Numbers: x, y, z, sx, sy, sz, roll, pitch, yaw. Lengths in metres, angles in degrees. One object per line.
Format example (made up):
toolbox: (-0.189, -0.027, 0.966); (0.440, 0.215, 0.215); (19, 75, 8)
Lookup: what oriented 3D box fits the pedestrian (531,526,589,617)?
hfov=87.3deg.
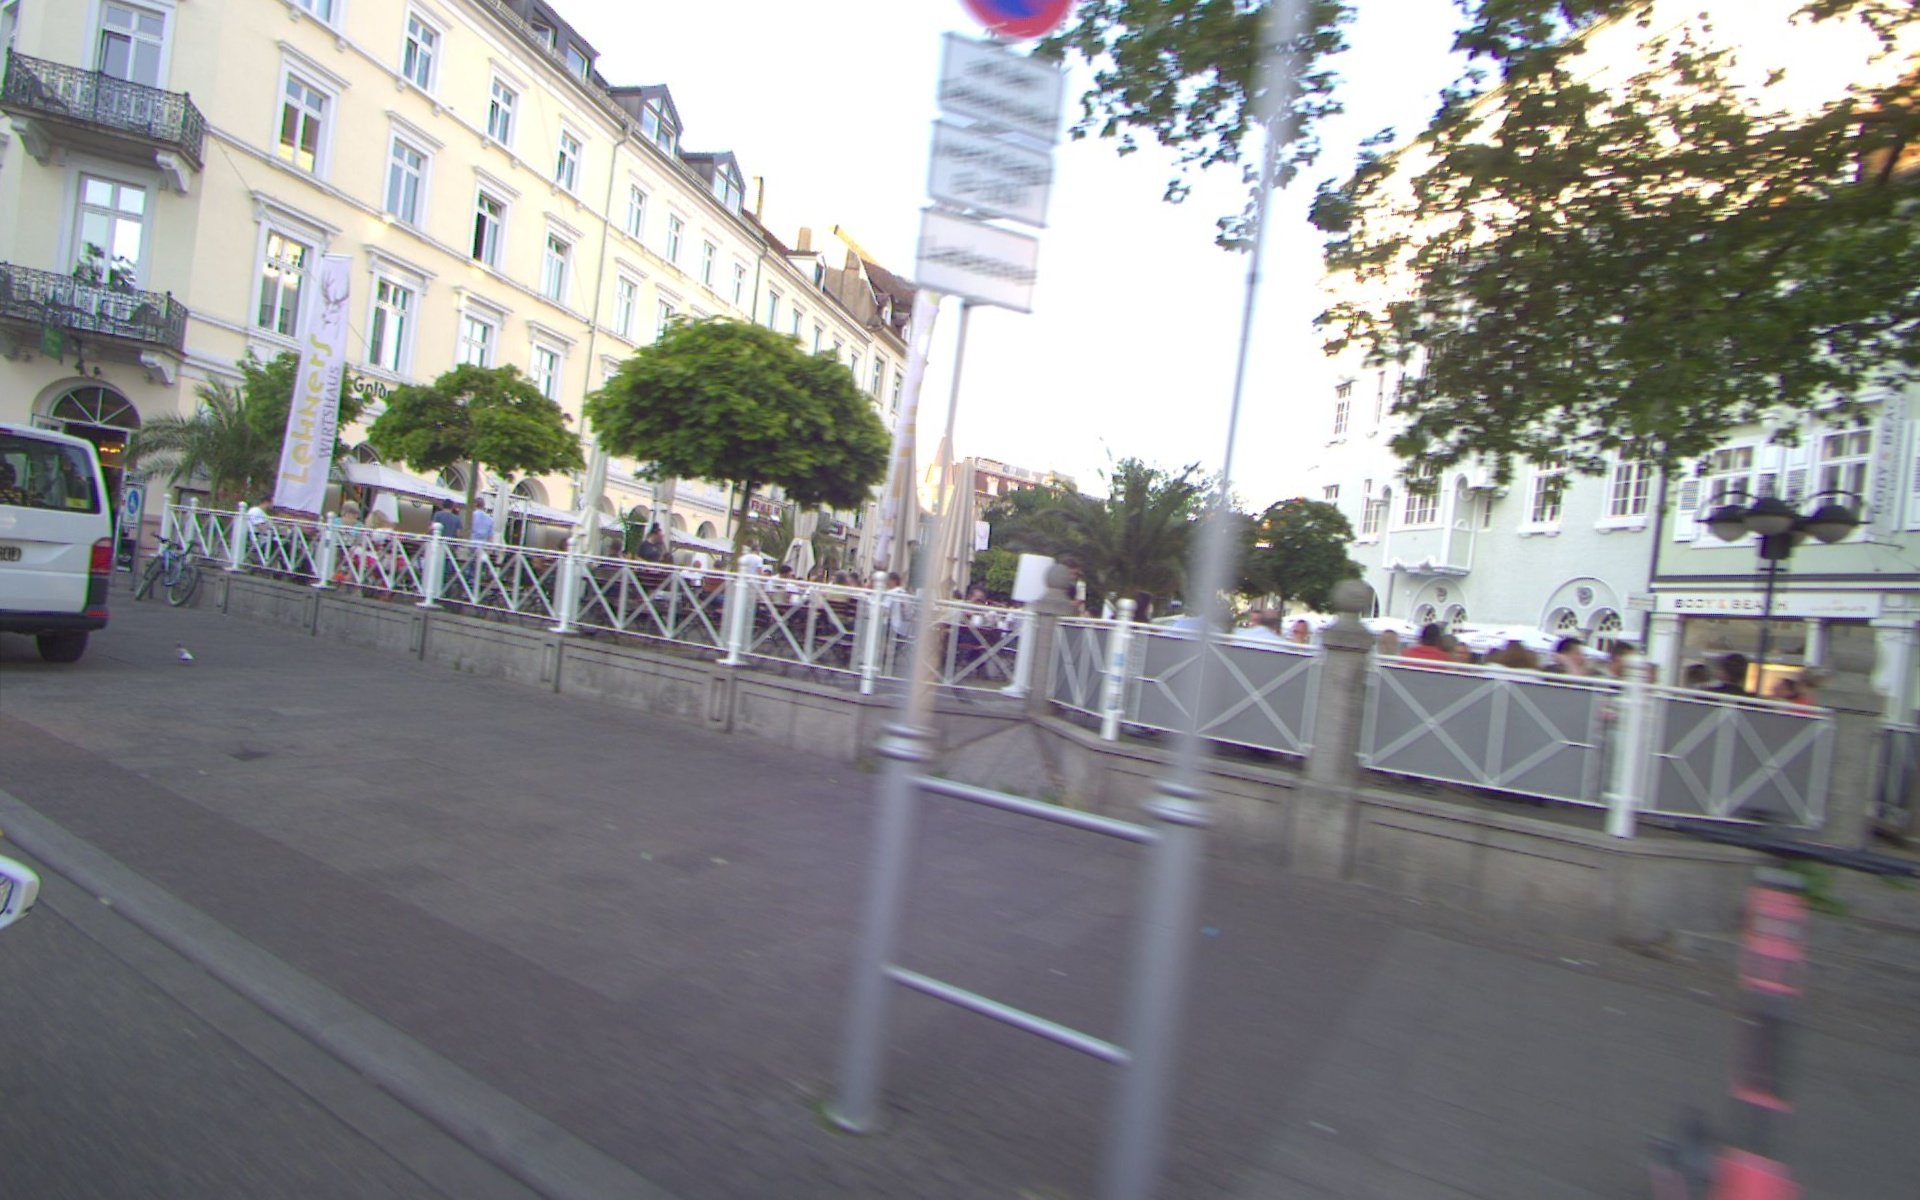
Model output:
pedestrian: (-6.361, -0.448, 15.995); (0.482, 1.349, 0.531); (7, 0, 31)

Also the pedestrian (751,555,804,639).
pedestrian: (-3.243, -0.046, 17.894); (0.522, 1.394, 0.590); (7, 0, 24)

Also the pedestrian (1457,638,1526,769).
pedestrian: (5.709, 1.105, 10.805); (0.482, 1.313, 0.531); (7, 0, 31)

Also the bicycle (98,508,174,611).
bicycle: (-12.289, -0.615, 14.998); (1.269, 1.408, 0.344); (7, 0, 31)

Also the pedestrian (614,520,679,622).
pedestrian: (-5.599, -0.514, 17.961); (0.719, 1.713, 0.590); (7, 0, 24)

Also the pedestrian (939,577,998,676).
pedestrian: (0.129, 0.388, 14.572); (0.523, 1.349, 0.490); (7, 0, 31)

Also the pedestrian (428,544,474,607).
pedestrian: (-11.623, -0.555, 22.980); (0.625, 1.344, 0.491); (7, 0, 18)

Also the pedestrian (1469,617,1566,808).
pedestrian: (4.255, 0.842, 7.677); (0.482, 1.349, 0.531); (7, 0, 31)

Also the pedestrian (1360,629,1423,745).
pedestrian: (5.224, 1.049, 12.172); (0.482, 1.313, 0.531); (7, 0, 31)

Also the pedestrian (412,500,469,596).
pedestrian: (-9.345, -0.934, 18.100); (0.522, 1.628, 0.553); (7, 0, 24)

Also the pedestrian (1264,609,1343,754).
pedestrian: (3.351, 0.789, 9.796); (0.482, 1.313, 0.531); (7, 0, 31)

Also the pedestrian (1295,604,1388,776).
pedestrian: (3.154, 0.732, 8.295); (0.482, 1.313, 0.531); (7, 0, 31)

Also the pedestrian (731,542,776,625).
pedestrian: (-4.493, -0.350, 21.911); (0.580, 1.717, 0.532); (7, 0, 24)

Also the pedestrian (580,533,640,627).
pedestrian: (-5.336, -0.301, 15.345); (0.482, 1.349, 0.531); (7, 0, 31)

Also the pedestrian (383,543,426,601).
pedestrian: (-13.275, -0.662, 24.038); (0.481, 1.296, 0.596); (7, 0, 18)

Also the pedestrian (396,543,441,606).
pedestrian: (-12.197, -0.567, 22.654); (0.481, 1.344, 0.596); (7, 0, 18)

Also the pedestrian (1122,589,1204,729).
pedestrian: (2.046, 0.592, 10.124); (0.523, 1.313, 0.490); (7, 0, 31)

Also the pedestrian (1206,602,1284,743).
pedestrian: (2.848, 0.719, 10.046); (0.482, 1.313, 0.531); (7, 0, 31)

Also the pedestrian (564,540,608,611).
pedestrian: (-7.569, -0.503, 20.360); (0.523, 1.349, 0.490); (7, 0, 31)

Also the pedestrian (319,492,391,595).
pedestrian: (-8.282, -0.763, 13.786); (0.481, 1.312, 0.532); (7, 0, 16)

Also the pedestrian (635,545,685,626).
pedestrian: (-5.088, -0.238, 17.065); (0.522, 1.282, 0.491); (7, 0, 8)

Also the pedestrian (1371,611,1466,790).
pedestrian: (3.634, 0.782, 7.959); (0.482, 1.313, 0.531); (7, 0, 31)

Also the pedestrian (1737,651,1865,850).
pedestrian: (6.205, 1.088, 7.452); (0.523, 1.349, 0.490); (7, 0, 31)

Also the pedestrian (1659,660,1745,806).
pedestrian: (7.150, 1.268, 9.714); (0.482, 1.313, 0.531); (7, 0, 31)

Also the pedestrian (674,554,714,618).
pedestrian: (-5.988, -0.309, 22.657); (0.523, 1.349, 0.490); (7, 0, 31)

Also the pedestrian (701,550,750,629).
pedestrian: (-4.242, -0.189, 18.185); (0.523, 1.349, 0.490); (7, 0, 31)

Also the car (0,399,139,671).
car: (-9.674, -0.754, 9.052); (5.129, 2.093, 1.854); (6, 0, 32)

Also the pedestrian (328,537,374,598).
pedestrian: (-13.810, -0.729, 22.820); (0.481, 1.296, 0.596); (7, 0, 18)

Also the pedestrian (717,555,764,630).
pedestrian: (-4.178, -0.138, 19.152); (0.482, 1.349, 0.531); (7, 0, 31)

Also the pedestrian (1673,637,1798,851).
pedestrian: (5.314, 0.966, 6.920); (0.482, 1.349, 0.531); (7, 0, 31)

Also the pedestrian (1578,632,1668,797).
pedestrian: (5.663, 0.968, 8.617); (0.482, 1.313, 0.531); (7, 0, 31)

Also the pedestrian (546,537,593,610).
pedestrian: (-7.671, -0.511, 19.768); (0.523, 1.349, 0.490); (7, 0, 31)

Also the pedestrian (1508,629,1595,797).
pedestrian: (5.000, 0.941, 8.510); (0.482, 1.313, 0.531); (7, 0, 31)

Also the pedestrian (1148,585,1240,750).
pedestrian: (2.049, 0.585, 8.793); (0.482, 1.349, 0.531); (7, 0, 31)

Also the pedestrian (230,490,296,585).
pedestrian: (-10.300, -0.923, 14.869); (0.482, 1.312, 0.531); (7, 0, 31)

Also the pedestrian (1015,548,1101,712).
pedestrian: (1.001, 0.307, 10.212); (0.523, 1.577, 0.490); (7, 0, 31)

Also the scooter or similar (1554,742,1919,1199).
scooter or similar: (1.906, 1.074, 2.549); (0.526, 1.248, 1.343); (6, 1, 29)

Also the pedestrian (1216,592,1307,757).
pedestrian: (2.578, 0.633, 8.581); (0.482, 1.313, 0.531); (7, 0, 31)

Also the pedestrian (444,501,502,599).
pedestrian: (-8.973, -0.912, 18.547); (0.522, 1.717, 0.590); (7, 0, 24)

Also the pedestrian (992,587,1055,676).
pedestrian: (1.032, 0.513, 16.323); (0.653, 1.349, 0.627); (7, 0, 31)

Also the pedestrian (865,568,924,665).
pedestrian: (-0.970, 0.249, 14.898); (0.523, 1.349, 0.490); (7, 0, 31)

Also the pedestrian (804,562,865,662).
pedestrian: (-1.799, 0.175, 14.435); (0.482, 1.349, 0.531); (7, 0, 31)
